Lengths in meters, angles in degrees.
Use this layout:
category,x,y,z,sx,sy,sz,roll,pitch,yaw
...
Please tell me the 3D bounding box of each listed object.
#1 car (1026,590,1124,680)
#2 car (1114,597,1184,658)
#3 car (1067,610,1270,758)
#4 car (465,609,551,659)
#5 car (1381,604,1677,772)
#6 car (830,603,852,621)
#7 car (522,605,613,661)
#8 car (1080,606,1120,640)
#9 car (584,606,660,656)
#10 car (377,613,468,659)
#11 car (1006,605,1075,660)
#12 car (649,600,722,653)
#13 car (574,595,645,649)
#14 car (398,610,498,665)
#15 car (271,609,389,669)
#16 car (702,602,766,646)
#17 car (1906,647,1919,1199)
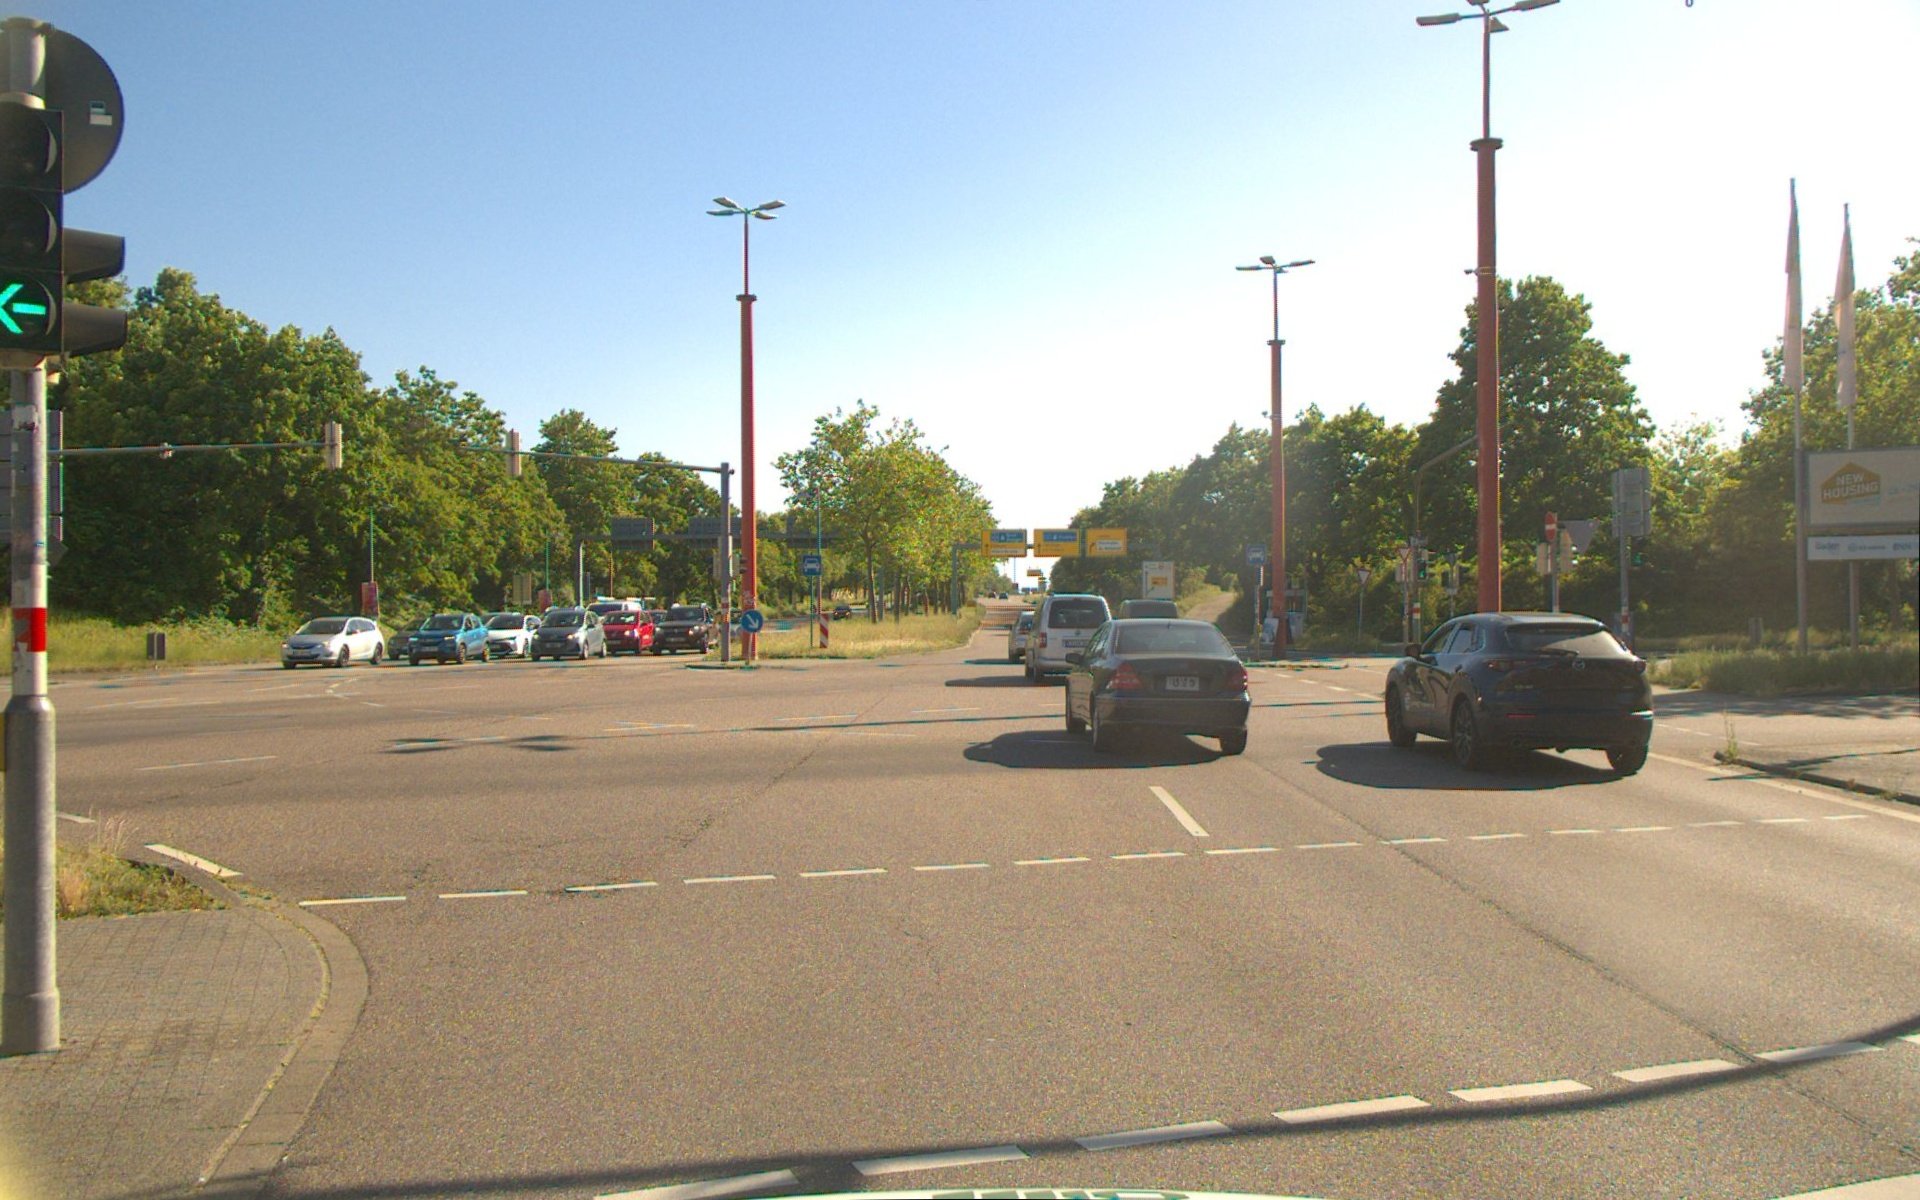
category,x,y,z,sx,sy,sz,roll,pitch,yaw
car,2.457,0.751,36.388,1.768,1.853,4.585,0,-1,-1
car,6.181,0.878,54.598,1.767,1.884,5.103,-1,0,1
car,2.274,0.869,19.079,1.678,1.479,4.196,-1,0,-2
car,-15.323,1.135,56.270,1.863,1.582,3.999,-1,0,-2
car,5.852,0.849,17.567,1.731,1.534,4.226,1,-1,1
car,-12.061,1.205,167.746,1.876,1.878,3.961,0,0,0
car,-12.119,0.982,51.291,1.836,1.577,4.027,-2,0,0
car,6.920,1.126,82.171,1.681,1.636,3.847,1,-1,0
car,-11.721,1.066,57.629,1.837,1.579,3.999,-3,0,-1
car,-19.145,1.271,59.083,1.846,1.539,4.000,-1,0,1
car,2.341,0.957,49.041,1.768,1.519,4.681,1,-1,-1
car,-9.140,0.849,55.378,1.757,1.654,4.142,-2,0,-1
car,-14.750,0.916,69.826,1.921,2.193,5.081,-1,0,0
car,-15.468,1.103,50.119,1.764,1.542,3.859,-2,0,0
car,-18.909,1.156,49.827,1.838,1.681,4.219,-1,-1,1
car,-8.563,0.901,62.858,1.847,1.570,4.000,-2,0,0
car,2.988,0.816,1.727,1.683,1.444,4.049,0,0,0
